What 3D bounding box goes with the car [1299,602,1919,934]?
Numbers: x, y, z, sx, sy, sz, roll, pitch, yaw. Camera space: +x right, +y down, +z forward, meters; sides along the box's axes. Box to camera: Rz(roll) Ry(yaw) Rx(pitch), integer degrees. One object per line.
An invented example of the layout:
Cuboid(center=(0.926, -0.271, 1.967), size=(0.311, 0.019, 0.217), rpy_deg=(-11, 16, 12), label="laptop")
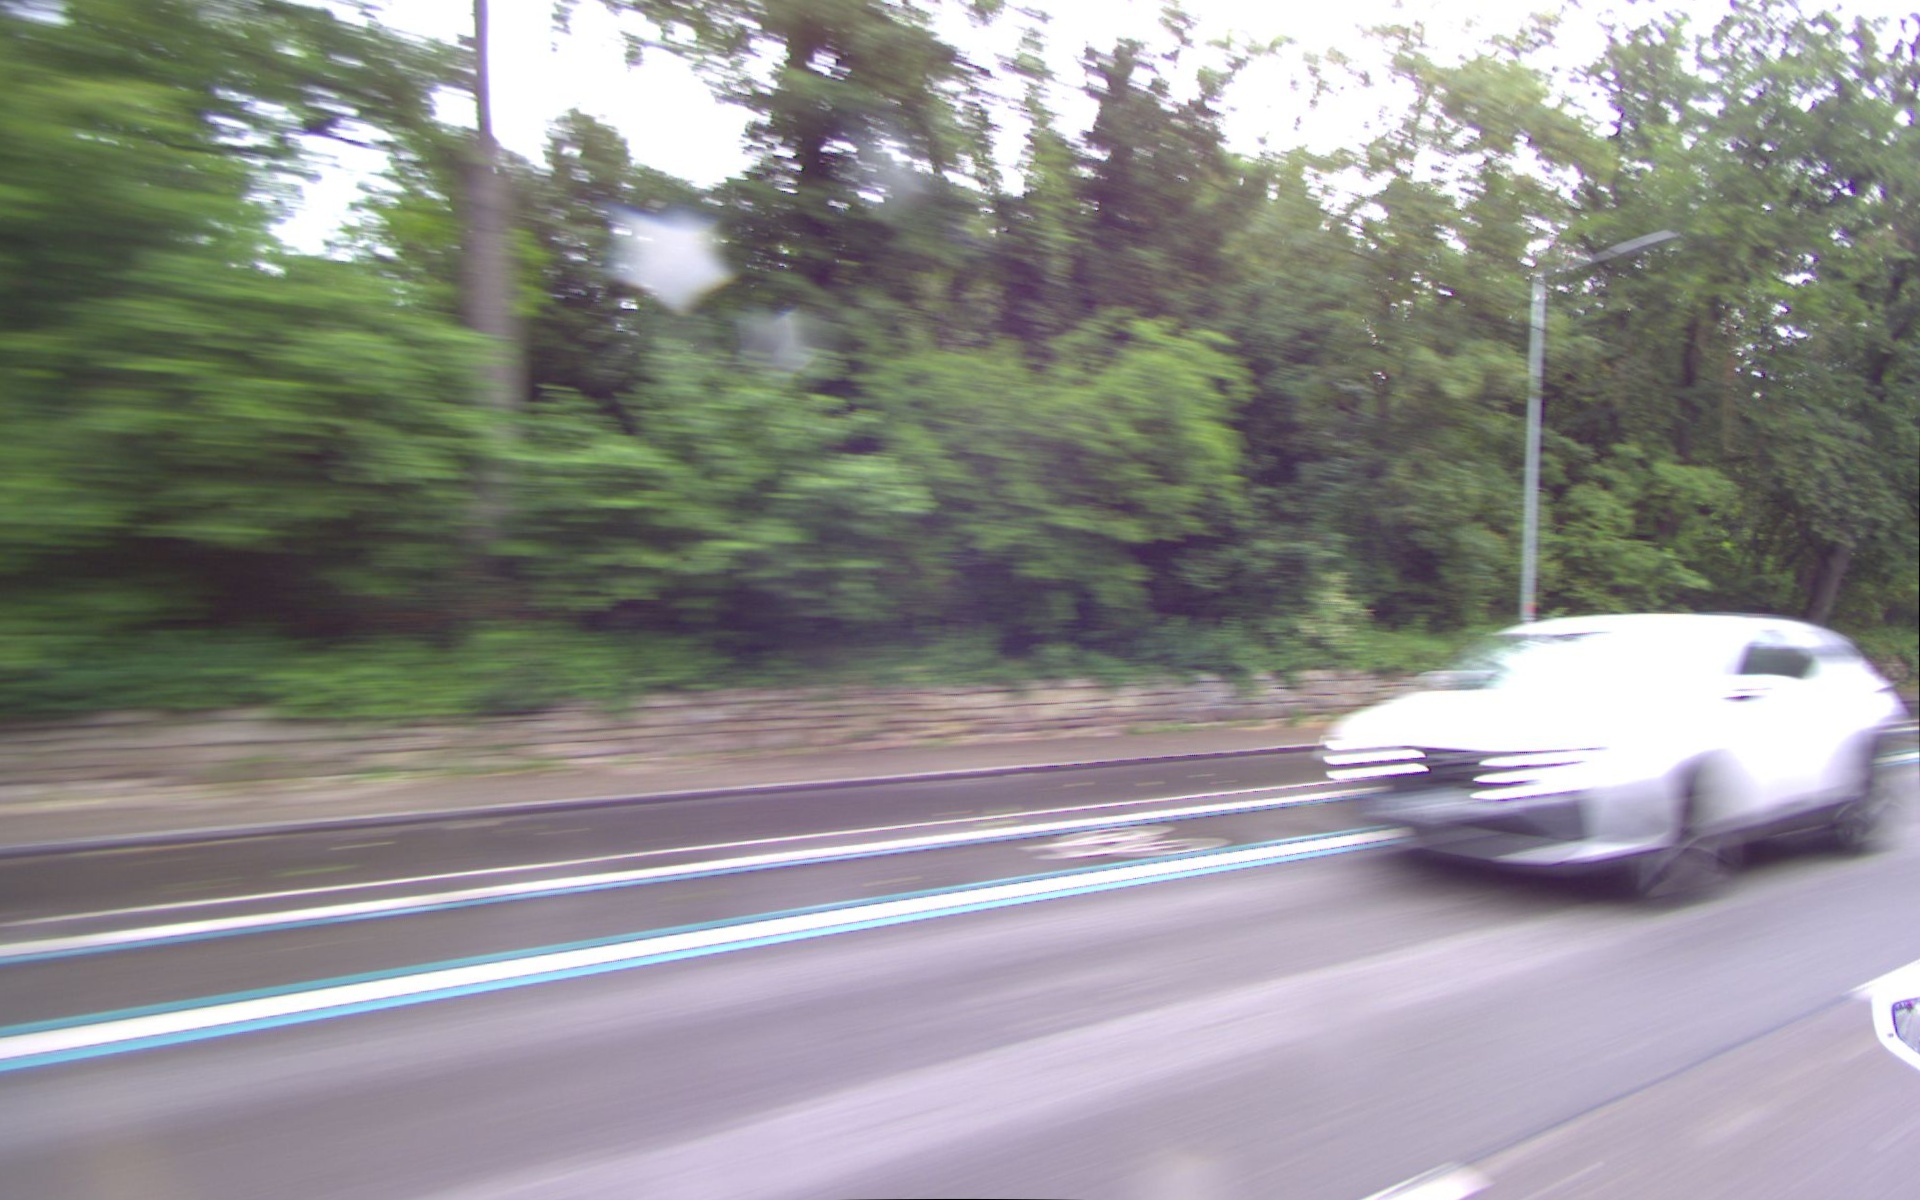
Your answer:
Cuboid(center=(4.640, 0.893, 7.032), size=(4.394, 1.660, 1.944), rpy_deg=(1, -2, -31), label="car")
